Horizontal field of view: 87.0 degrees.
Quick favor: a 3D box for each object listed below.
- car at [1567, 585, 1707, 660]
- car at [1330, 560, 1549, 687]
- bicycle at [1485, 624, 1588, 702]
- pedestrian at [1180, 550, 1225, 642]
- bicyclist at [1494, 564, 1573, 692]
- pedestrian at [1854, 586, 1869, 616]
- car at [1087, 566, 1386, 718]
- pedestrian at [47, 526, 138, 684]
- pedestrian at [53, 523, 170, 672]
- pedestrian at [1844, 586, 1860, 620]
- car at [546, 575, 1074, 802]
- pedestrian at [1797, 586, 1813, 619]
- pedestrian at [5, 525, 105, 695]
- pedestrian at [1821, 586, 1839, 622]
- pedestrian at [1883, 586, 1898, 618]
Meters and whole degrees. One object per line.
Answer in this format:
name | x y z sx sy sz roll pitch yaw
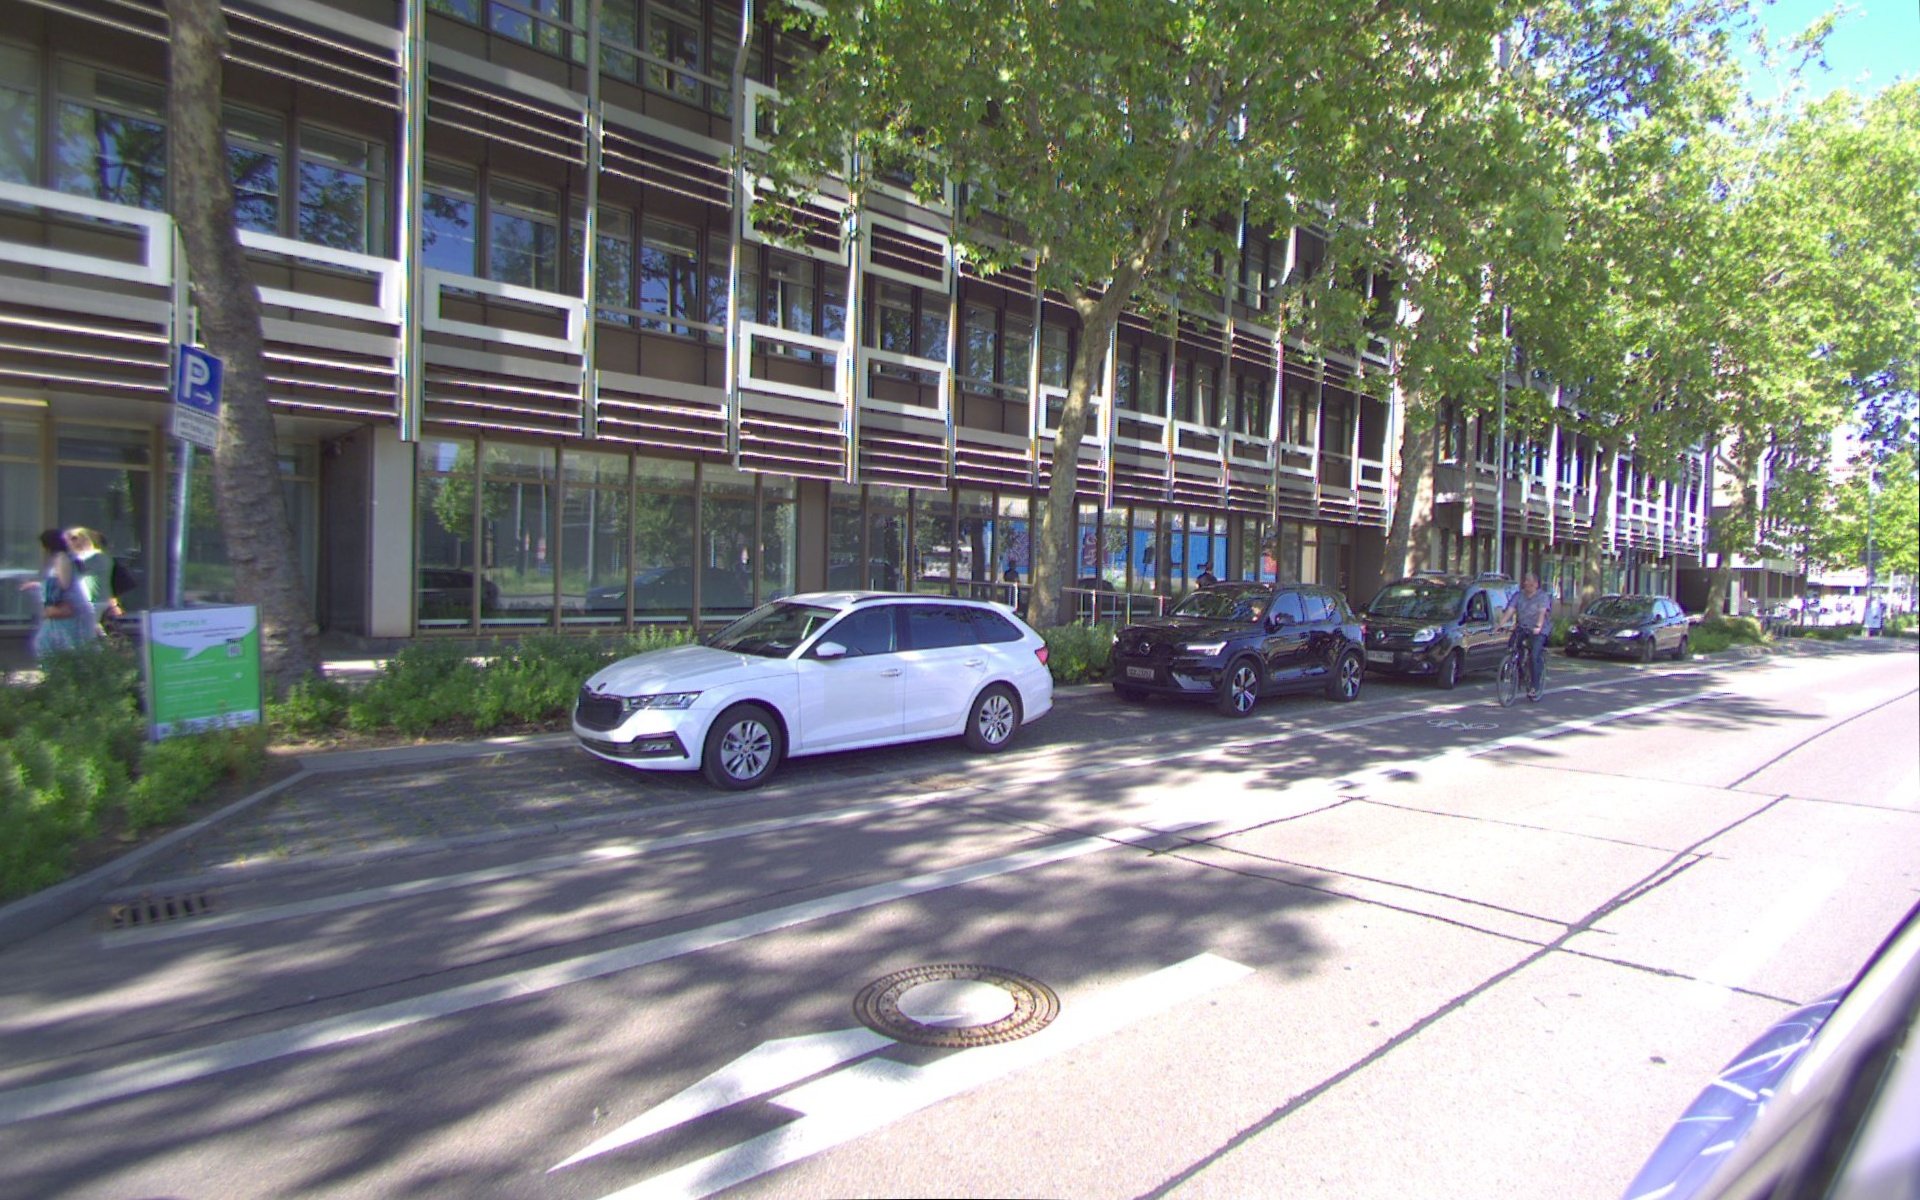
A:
car | 16.499 0.498 24.587 4.262 1.573 1.751 0 3 -41
car | 8.175 0.335 17.079 4.262 1.843 1.751 0 3 -41
bicycle | 8.039 0.843 14.074 1.891 1.006 0.710 1 -2 -43
pedestrian | 5.500 -0.086 22.920 0.615 2.039 0.741 1 0 -40
bicyclist | 7.934 0.374 13.996 0.838 1.709 0.710 1 -1 -42
pedestrian | 55.696 0.071 62.503 0.559 1.863 0.591 1 0 -41
car | 3.789 0.462 13.488 4.262 1.653 1.751 0 3 -41
pedestrian | -9.322 0.034 10.892 0.715 1.620 0.668 1 3 -40
pedestrian | -9.721 -0.042 11.618 0.991 1.620 0.668 1 3 -41
pedestrian | 50.292 0.157 57.077 0.559 1.863 0.591 1 0 -41
car | -1.149 0.606 9.157 4.481 1.508 1.751 0 3 -42
pedestrian | 48.028 0.146 57.526 0.685 1.863 0.591 1 0 -42
pedestrian | -9.081 0.081 10.184 0.715 1.620 0.668 1 3 -40
pedestrian | 45.750 0.222 53.221 0.684 1.863 0.591 1 0 -42
pedestrian | 54.489 0.103 59.262 0.559 1.863 0.591 1 0 -41
